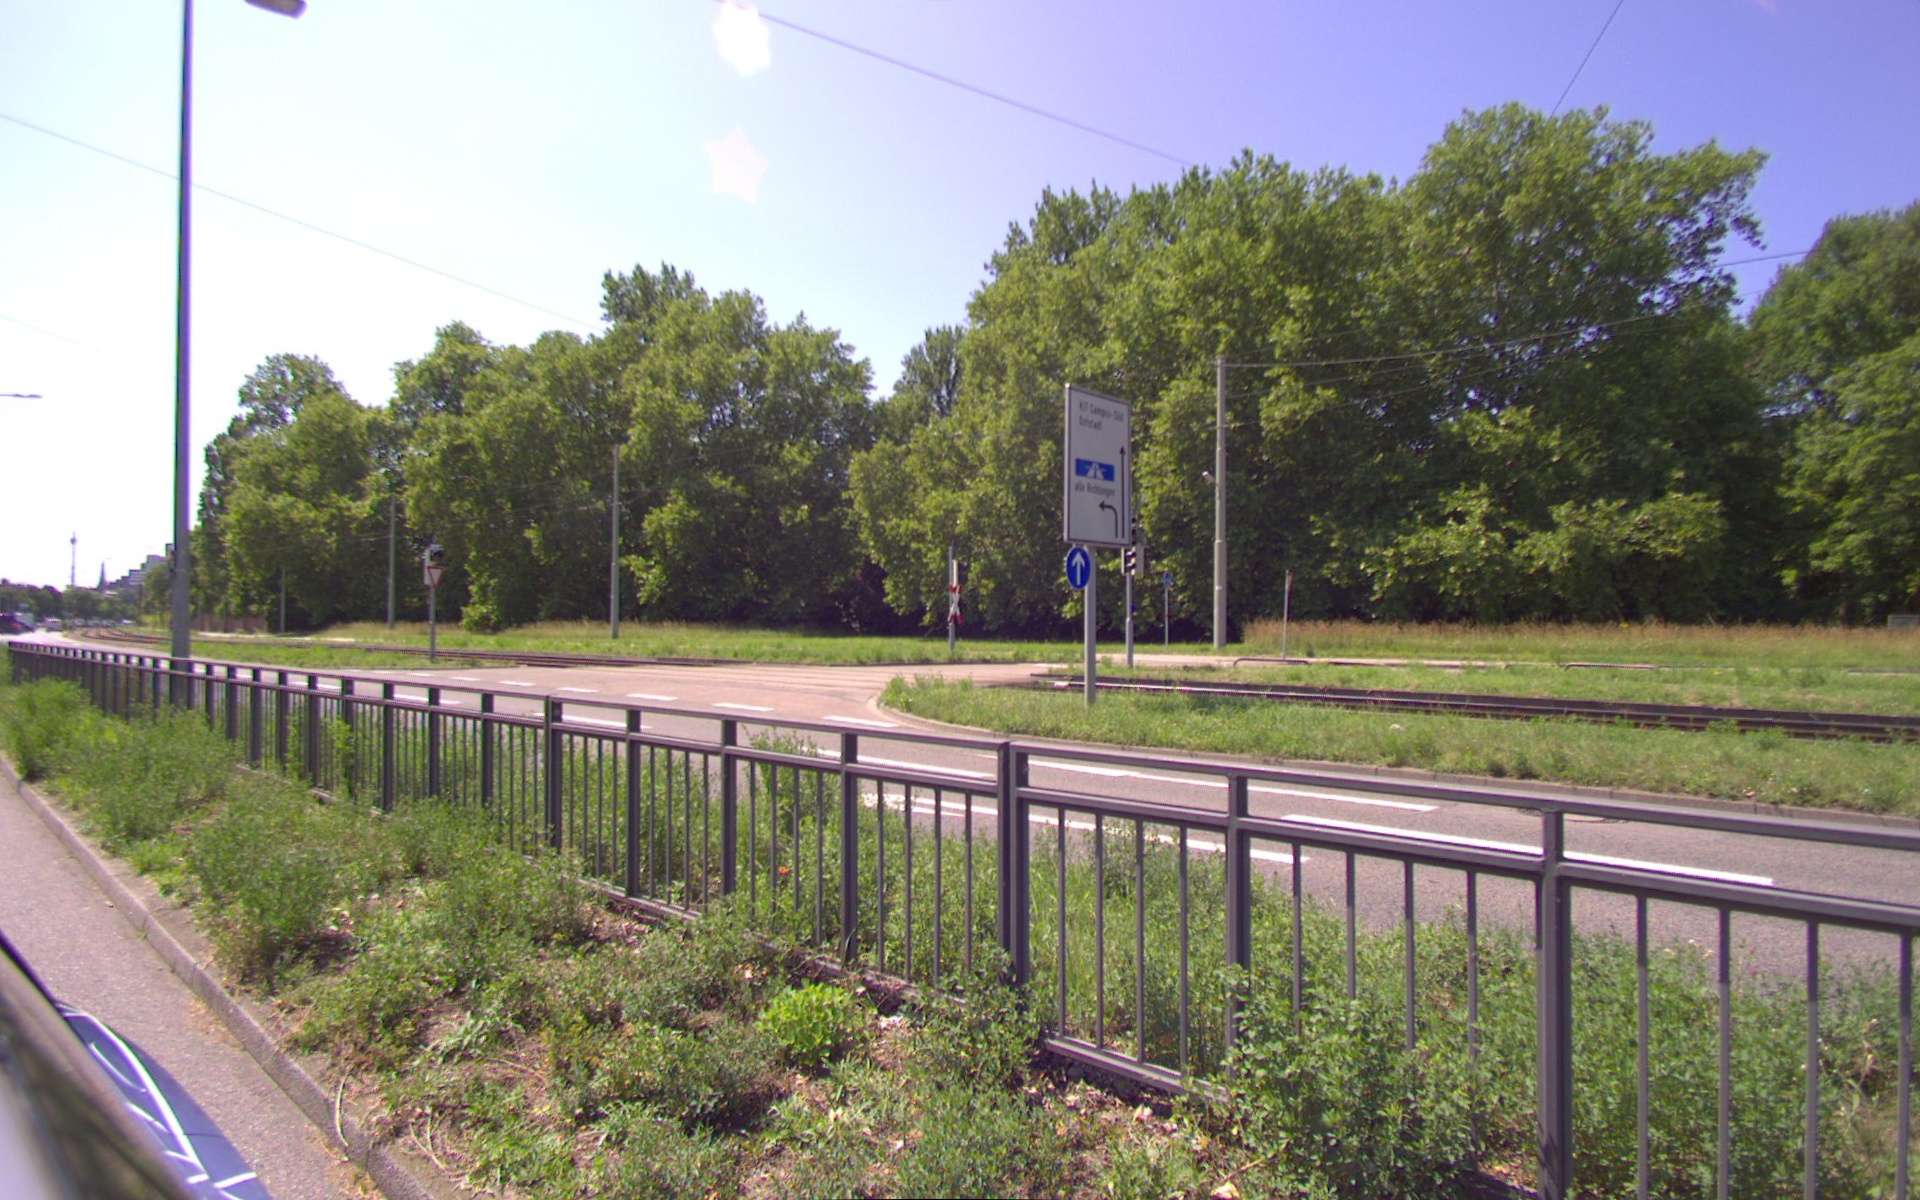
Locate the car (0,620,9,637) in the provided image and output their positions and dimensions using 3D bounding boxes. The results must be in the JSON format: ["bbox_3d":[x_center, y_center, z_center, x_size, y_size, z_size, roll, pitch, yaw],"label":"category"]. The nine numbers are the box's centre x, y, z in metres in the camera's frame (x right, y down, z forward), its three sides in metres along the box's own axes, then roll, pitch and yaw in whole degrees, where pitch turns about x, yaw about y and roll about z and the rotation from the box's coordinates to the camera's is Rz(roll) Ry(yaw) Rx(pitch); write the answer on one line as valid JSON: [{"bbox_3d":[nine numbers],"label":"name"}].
[{"bbox_3d":[-107.798,3.231,113.287,1.970,1.871,4.004,1,-2,-43],"label":"car"}]

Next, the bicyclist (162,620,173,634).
[{"bbox_3d":[-103.225,3.482,131.827,1.117,1.820,0.851,-1,-2,41],"label":"bicyclist"}]

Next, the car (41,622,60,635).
[{"bbox_3d":[-136.571,4.236,151.971,1.970,1.871,4.003,1,-2,-44],"label":"car"}]

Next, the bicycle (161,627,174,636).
[{"bbox_3d":[-103.279,4.116,131.829,2.785,1.171,0.851,-1,-2,41],"label":"bicycle"}]
